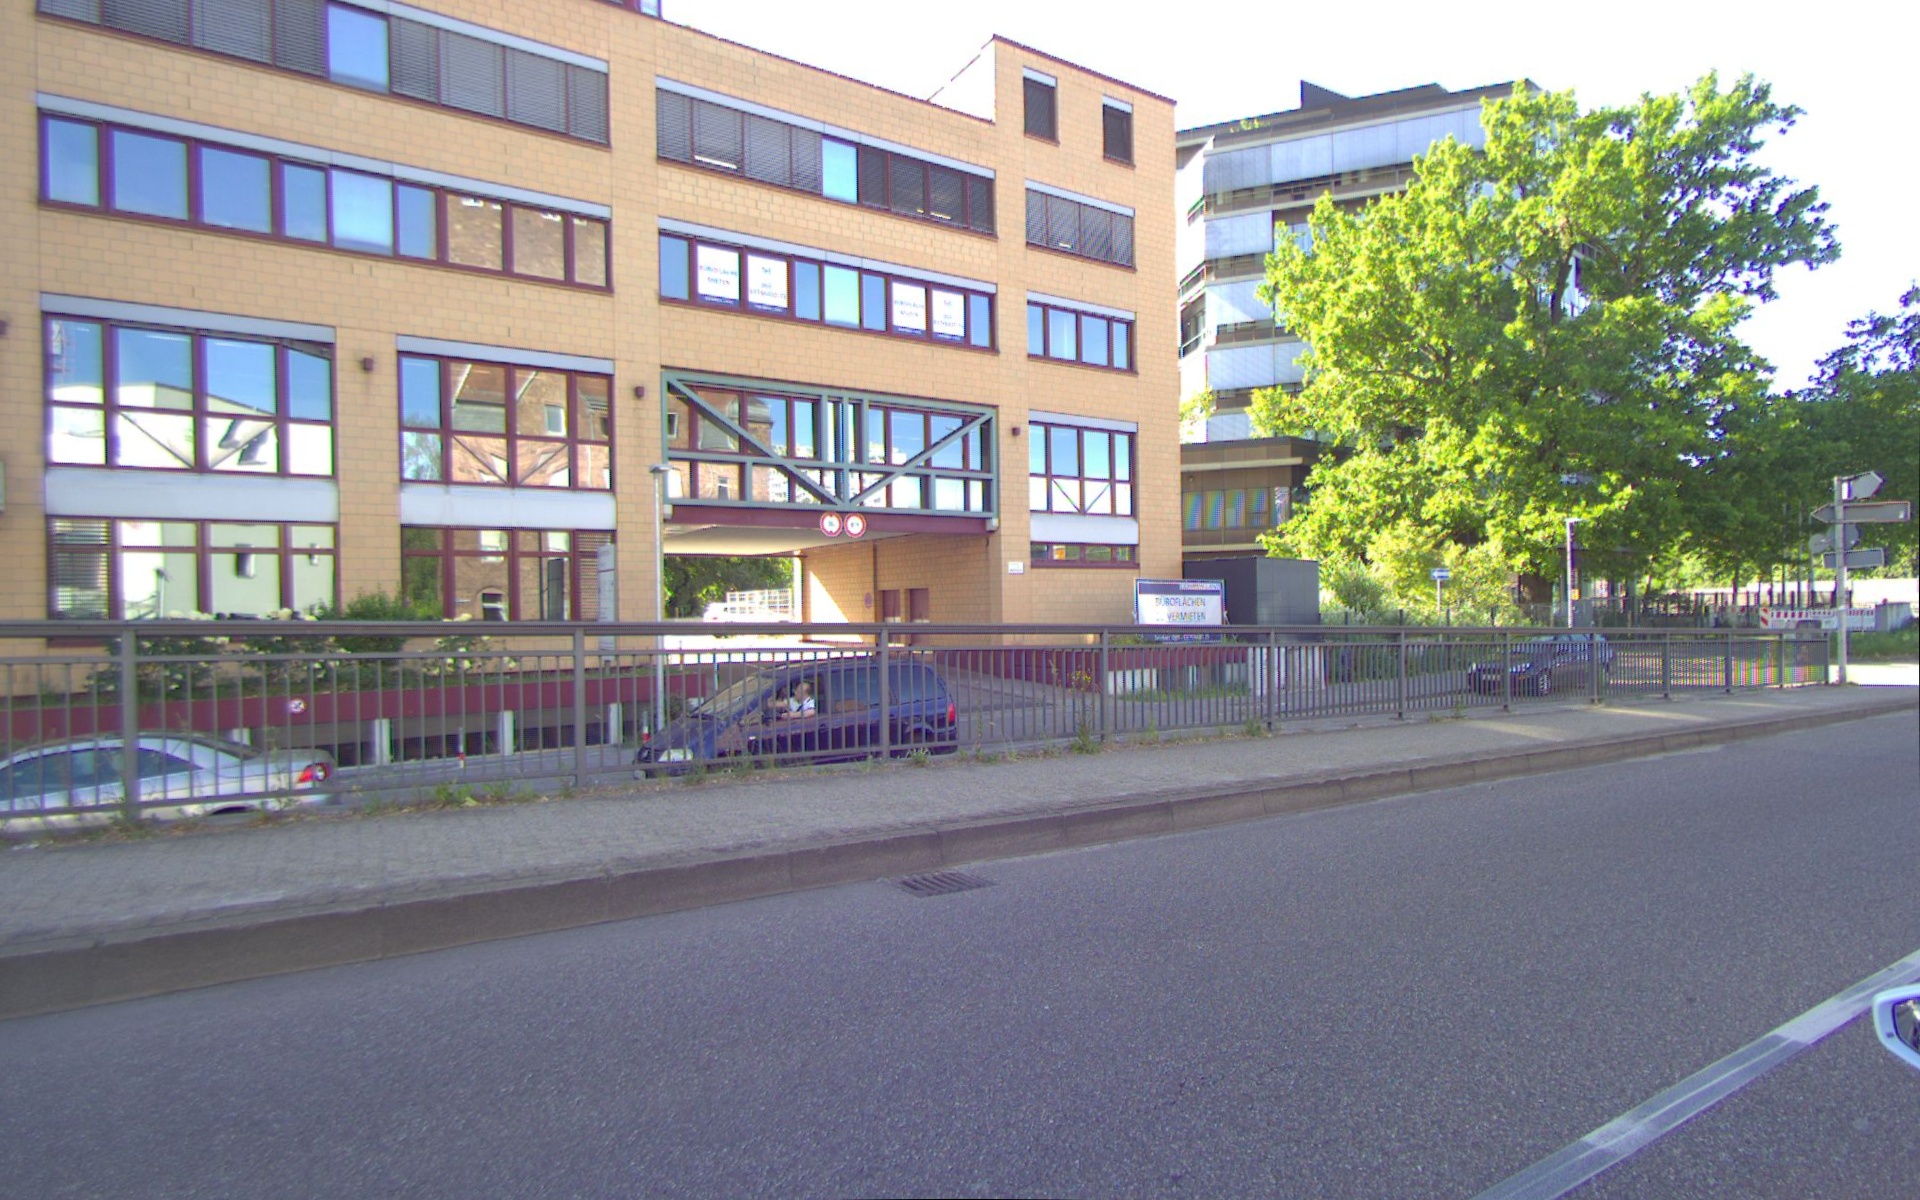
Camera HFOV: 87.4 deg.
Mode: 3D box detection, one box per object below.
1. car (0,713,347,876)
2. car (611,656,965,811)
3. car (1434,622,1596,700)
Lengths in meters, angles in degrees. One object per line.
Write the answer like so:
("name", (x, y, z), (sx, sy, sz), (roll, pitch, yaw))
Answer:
("car", (-8.504, 1.878, 9.885), (4.211, 1.181, 1.712), (0, -2, -33))
("car", (-2.255, 1.679, 13.833), (4.542, 1.669, 1.710), (0, -2, -36))
("car", (13.896, 1.462, 25.116), (3.954, 1.715, 1.842), (-1, 0, -31))
